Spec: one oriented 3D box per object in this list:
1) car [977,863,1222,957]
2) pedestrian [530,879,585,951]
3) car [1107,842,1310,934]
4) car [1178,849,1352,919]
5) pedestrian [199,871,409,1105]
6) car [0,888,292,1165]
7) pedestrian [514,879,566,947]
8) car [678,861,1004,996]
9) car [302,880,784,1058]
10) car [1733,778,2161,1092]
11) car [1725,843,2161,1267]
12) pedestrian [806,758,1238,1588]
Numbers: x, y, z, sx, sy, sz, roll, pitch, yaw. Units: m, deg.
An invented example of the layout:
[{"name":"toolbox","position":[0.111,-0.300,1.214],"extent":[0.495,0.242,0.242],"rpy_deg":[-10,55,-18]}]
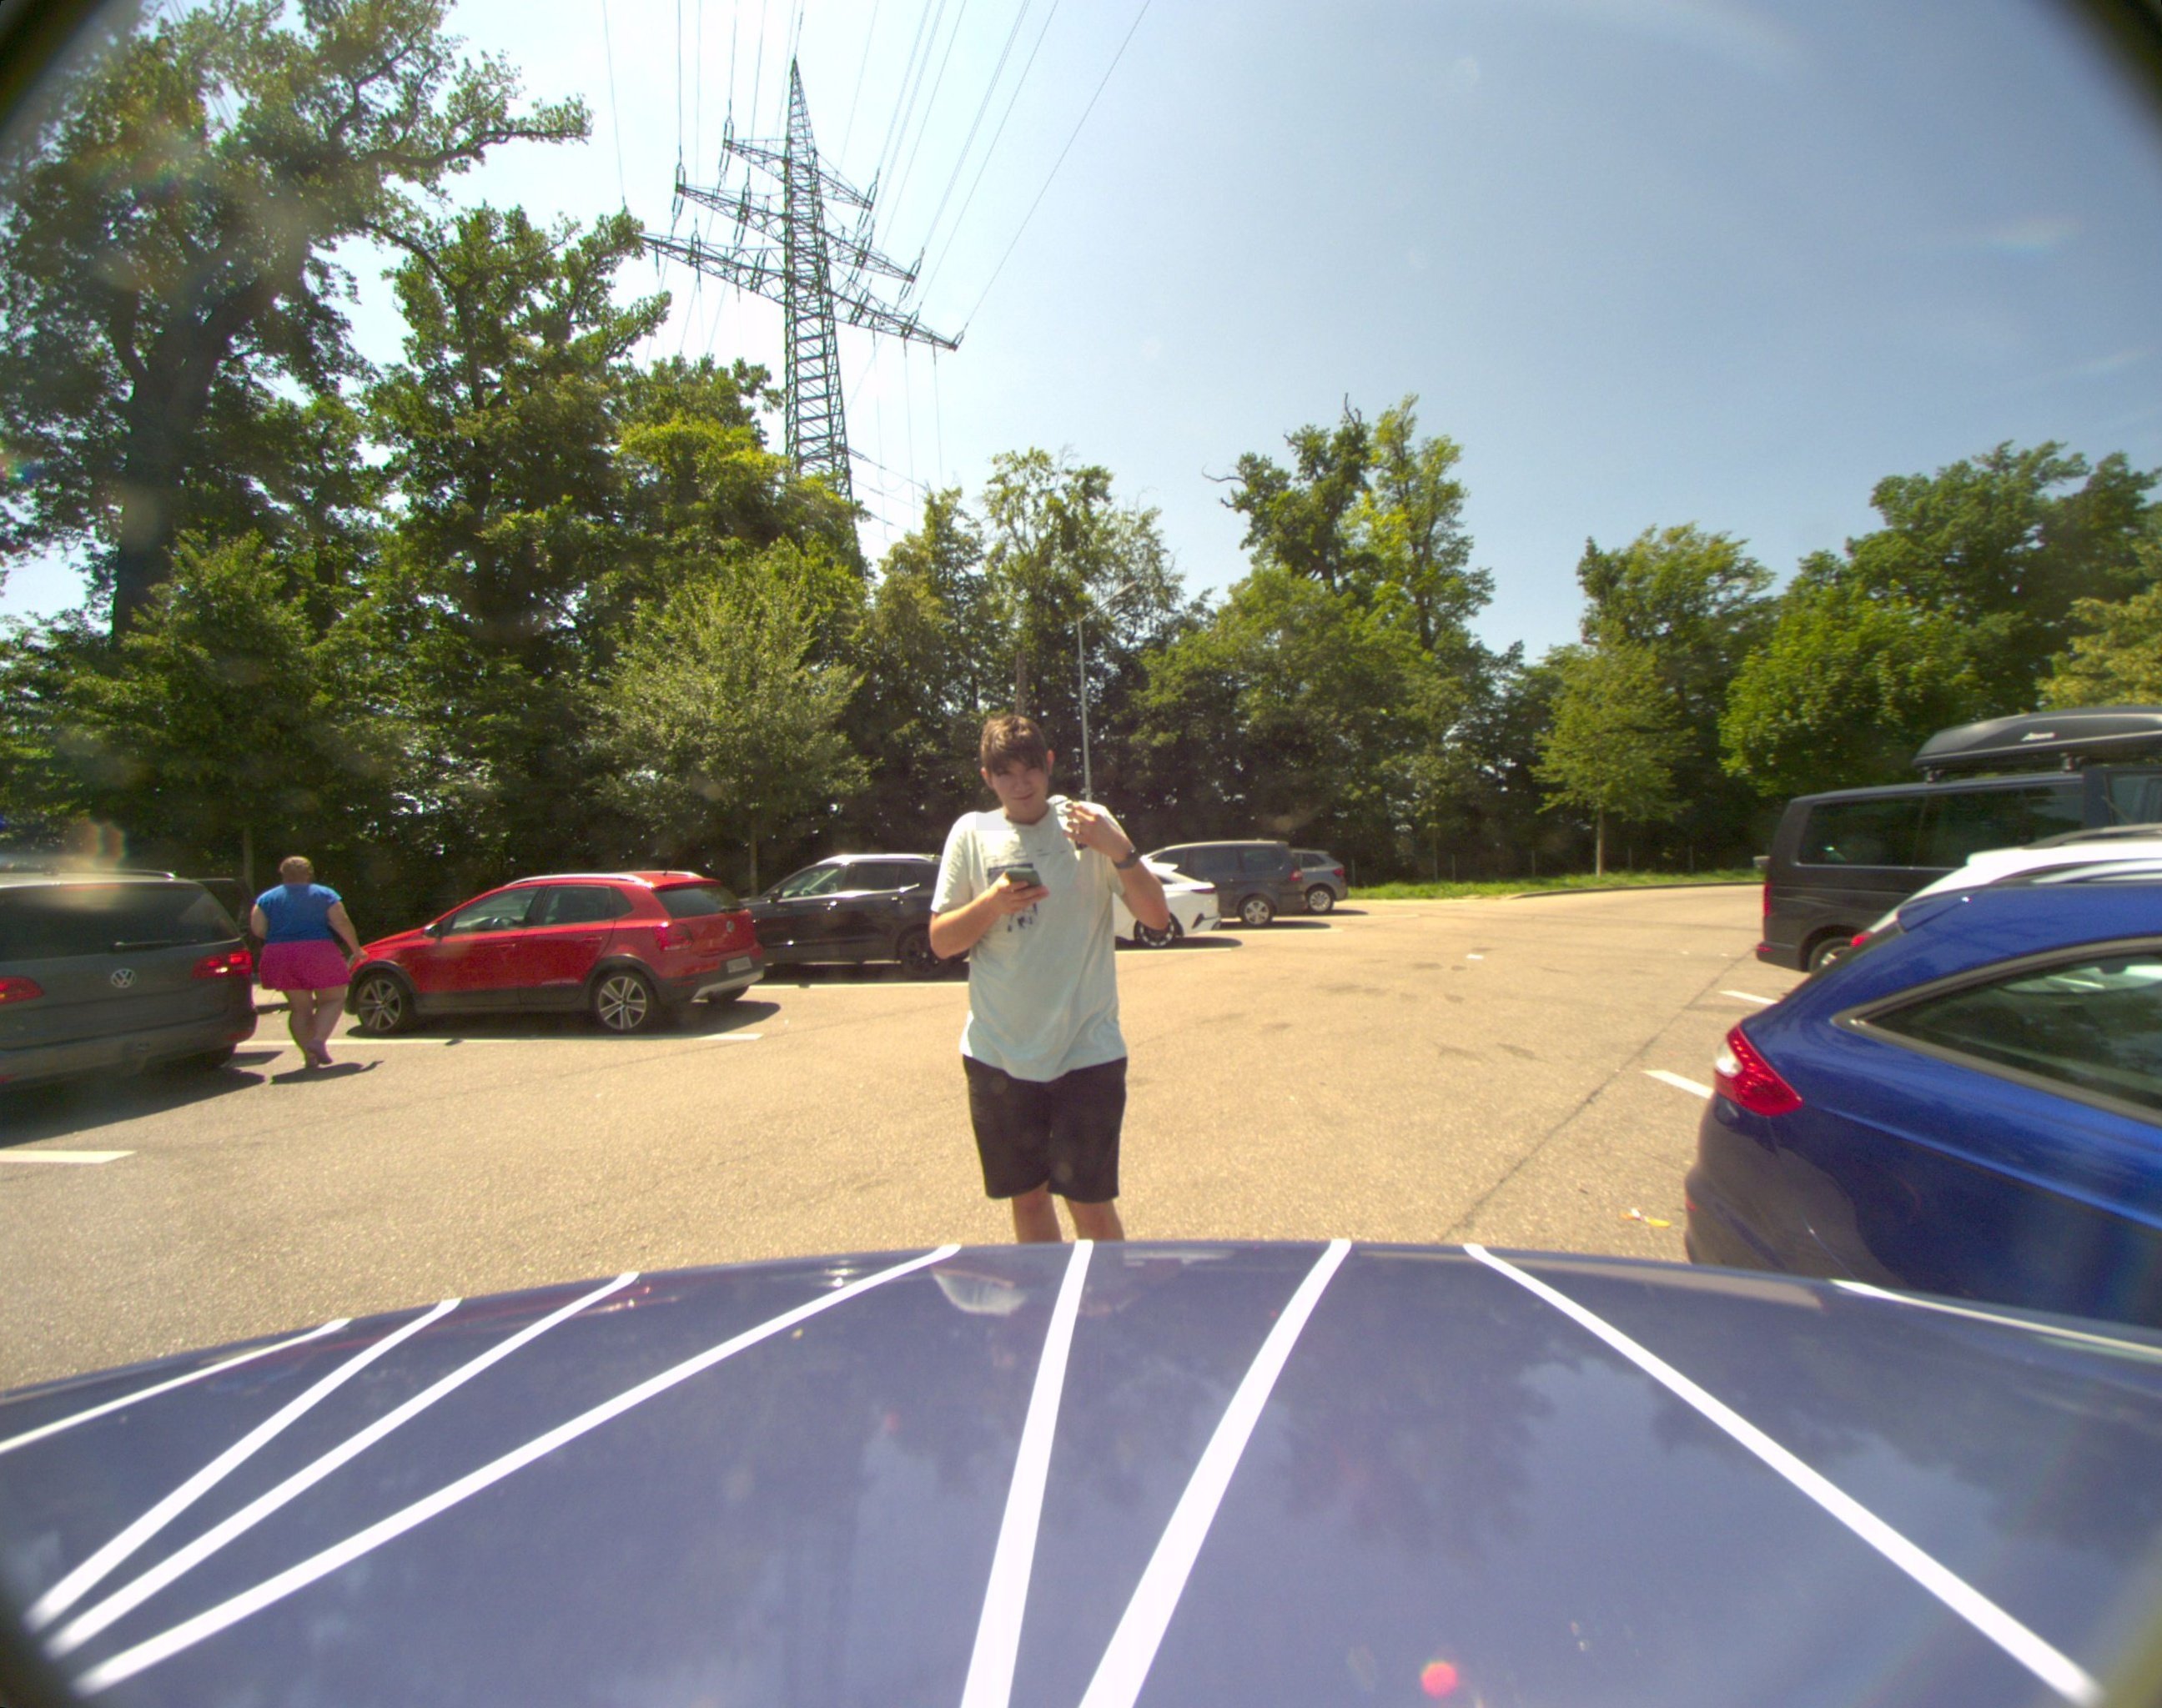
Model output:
[{"name":"car","position":[0.359,0.902,12.741],"extent":[3.819,1.377,1.722],"rpy_deg":[-1,1,6]},{"name":"pedestrian","position":[-10.008,1.141,14.517],"extent":[0.782,1.287,0.670],"rpy_deg":[-1,2,45]},{"name":"car","position":[2.582,0.671,15.467],"extent":[3.818,1.714,1.722],"rpy_deg":[-1,1,12]},{"name":"car","position":[4.334,0.695,18.169],"extent":[3.818,1.530,1.722],"rpy_deg":[-1,1,12]},{"name":"pedestrian","position":[-6.211,0.998,6.112],"extent":[0.732,1.672,0.921],"rpy_deg":[-2,1,26]},{"name":"car","position":[-8.297,1.106,5.455],"extent":[3.985,1.572,1.749],"rpy_deg":[-1,1,12]},{"name":"pedestrian","position":[-10.914,1.167,15.329],"extent":[0.782,1.287,0.670],"rpy_deg":[-1,2,45]},{"name":"car","position":[-3.072,0.939,10.275],"extent":[3.787,1.564,1.721],"rpy_deg":[-1,1,2]},{"name":"car","position":[-5.245,1.067,7.664],"extent":[3.785,1.457,1.722],"rpy_deg":[-1,1,9]},{"name":"car","position":[7.316,0.438,4.927],"extent":[1.961,1.858,4.642],"rpy_deg":[-3,-1,-3]},{"name":"car","position":[4.868,0.725,2.298],"extent":[1.741,1.524,4.642],"rpy_deg":[-3,-1,-2]},{"name":"pedestrian","position":[-0.125,0.718,2.002],"extent":[0.890,1.831,0.622],"rpy_deg":[-2,1,0]}]
